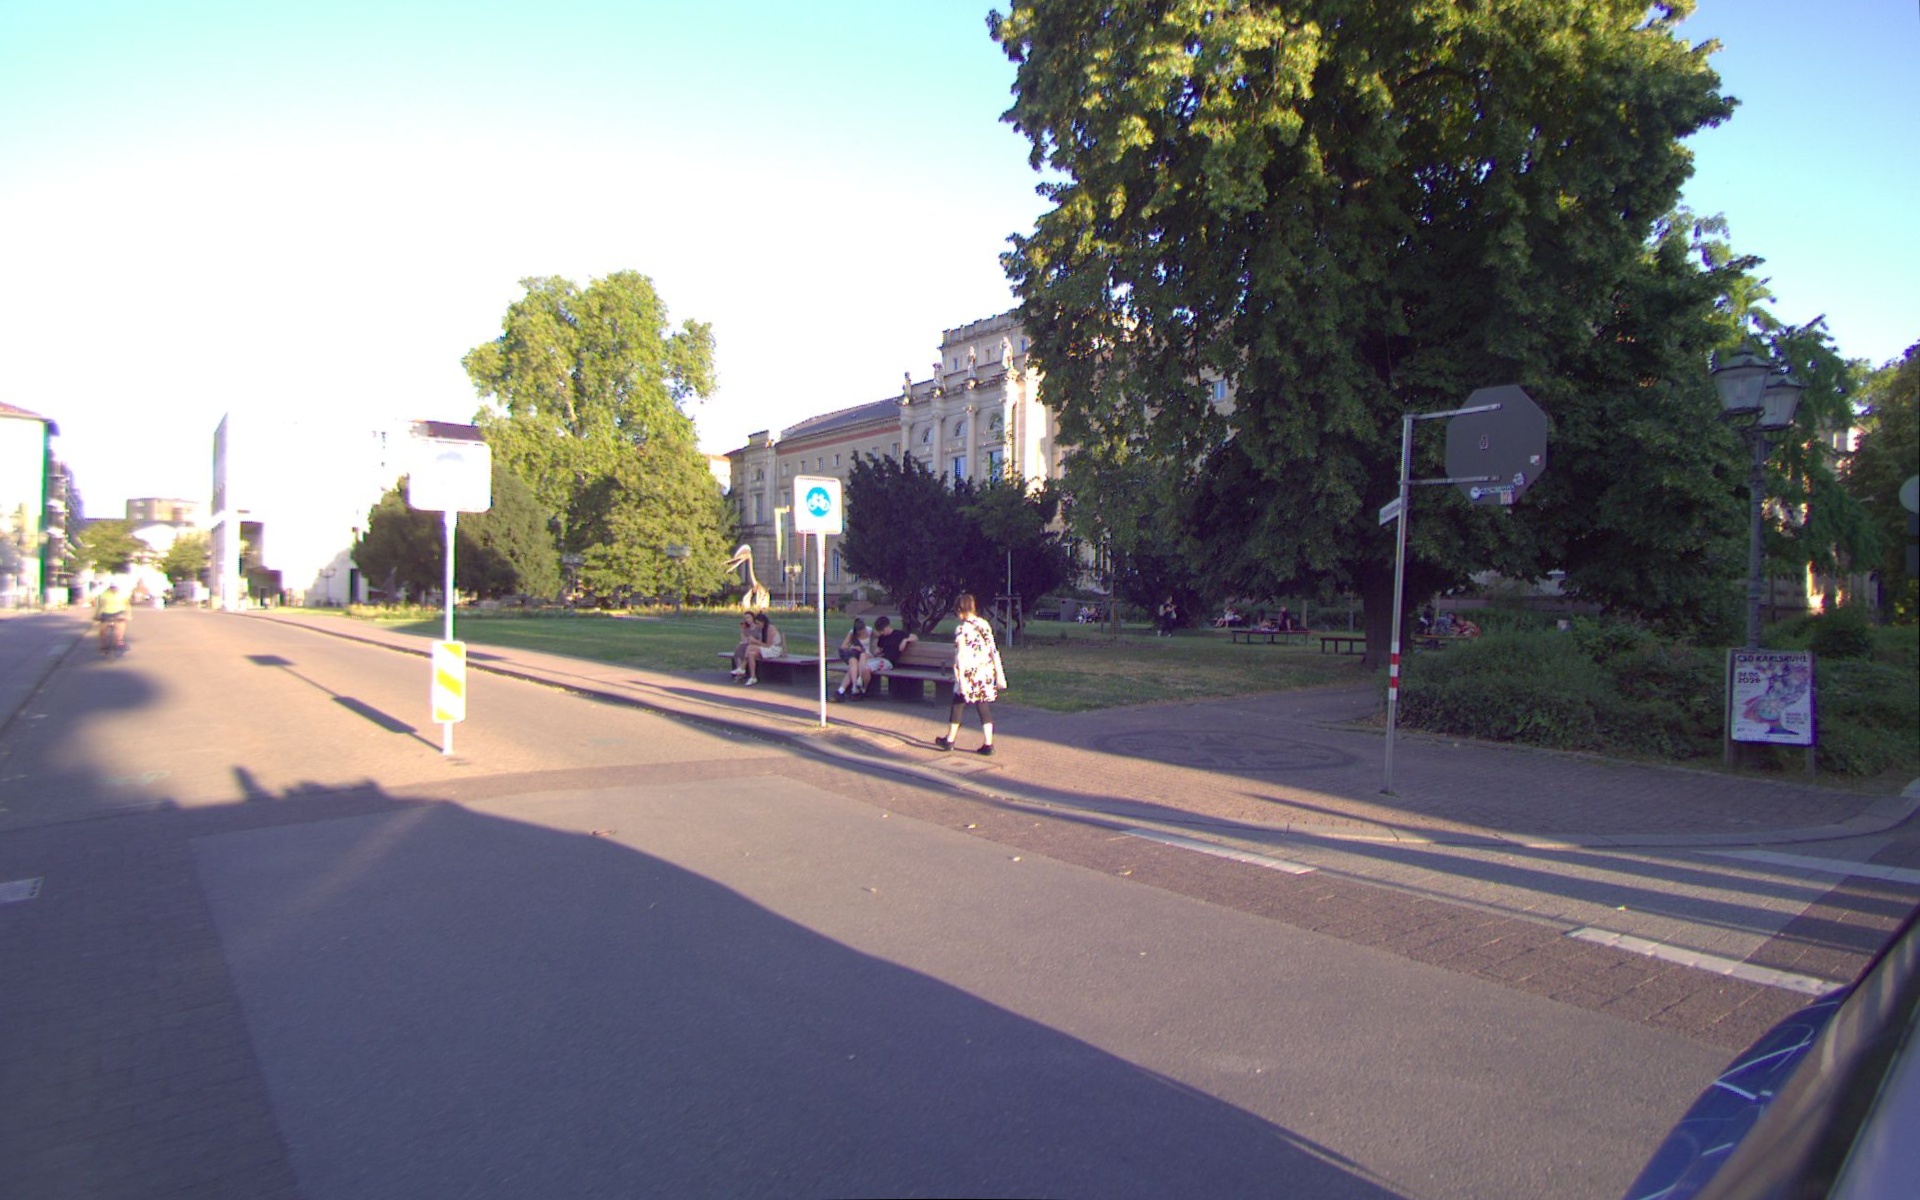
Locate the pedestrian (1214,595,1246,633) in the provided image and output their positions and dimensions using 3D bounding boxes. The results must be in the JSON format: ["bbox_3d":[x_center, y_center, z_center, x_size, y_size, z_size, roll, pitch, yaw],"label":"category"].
[{"bbox_3d":[14.958,0.783,56.123,0.965,2.039,1.394,3,-2,-42],"label":"pedestrian"}]

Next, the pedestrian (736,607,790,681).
[{"bbox_3d":[-3.393,0.747,17.431,0.606,1.229,0.656,1,-1,45],"label":"pedestrian"}]

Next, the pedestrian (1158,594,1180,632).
[{"bbox_3d":[8.295,0.497,40.159,0.742,1.462,0.814,1,0,16],"label":"pedestrian"}]

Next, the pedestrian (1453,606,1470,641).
[{"bbox_3d":[15.427,0.711,31.122,0.390,1.064,0.600,1,0,20],"label":"pedestrian"}]

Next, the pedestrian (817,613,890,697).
[{"bbox_3d":[-1.599,0.810,15.275,0.526,1.219,0.954,1,-1,45],"label":"pedestrian"}]

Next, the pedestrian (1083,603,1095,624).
[{"bbox_3d":[8.162,0.861,64.031,0.499,1.304,0.583,1,-1,45],"label":"pedestrian"}]

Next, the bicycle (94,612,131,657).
[{"bbox_3d":[-18.140,0.725,21.642,0.537,0.878,1.710,2,0,-42],"label":"bicycle"}]

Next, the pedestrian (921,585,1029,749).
[{"bbox_3d":[0.154,0.671,10.741,0.743,1.646,0.858,2,0,-38],"label":"pedestrian"}]

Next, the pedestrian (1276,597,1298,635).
[{"bbox_3d":[10.621,0.510,32.874,0.594,1.217,0.394,1,0,10],"label":"pedestrian"}]

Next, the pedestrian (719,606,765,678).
[{"bbox_3d":[-3.850,0.728,17.881,0.499,1.229,0.583,1,-1,45],"label":"pedestrian"}]

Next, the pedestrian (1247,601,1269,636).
[{"bbox_3d":[9.772,0.614,33.192,0.593,1.123,0.395,1,0,6],"label":"pedestrian"}]

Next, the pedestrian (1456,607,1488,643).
[{"bbox_3d":[15.383,0.738,30.406,0.785,1.064,0.393,1,0,15],"label":"pedestrian"}]

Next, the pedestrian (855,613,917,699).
[{"bbox_3d":[-1.095,0.814,14.959,0.606,1.219,0.656,1,-1,45],"label":"pedestrian"}]

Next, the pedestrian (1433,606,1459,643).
[{"bbox_3d":[14.435,0.728,30.068,0.595,1.064,0.393,1,0,15],"label":"pedestrian"}]

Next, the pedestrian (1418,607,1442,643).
[{"bbox_3d":[14.290,0.747,30.807,0.596,1.064,0.393,1,0,18],"label":"pedestrian"}]

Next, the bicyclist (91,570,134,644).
[{"bbox_3d":[-18.120,0.146,21.631,0.640,1.547,0.722,2,-1,-42],"label":"bicyclist"}]
